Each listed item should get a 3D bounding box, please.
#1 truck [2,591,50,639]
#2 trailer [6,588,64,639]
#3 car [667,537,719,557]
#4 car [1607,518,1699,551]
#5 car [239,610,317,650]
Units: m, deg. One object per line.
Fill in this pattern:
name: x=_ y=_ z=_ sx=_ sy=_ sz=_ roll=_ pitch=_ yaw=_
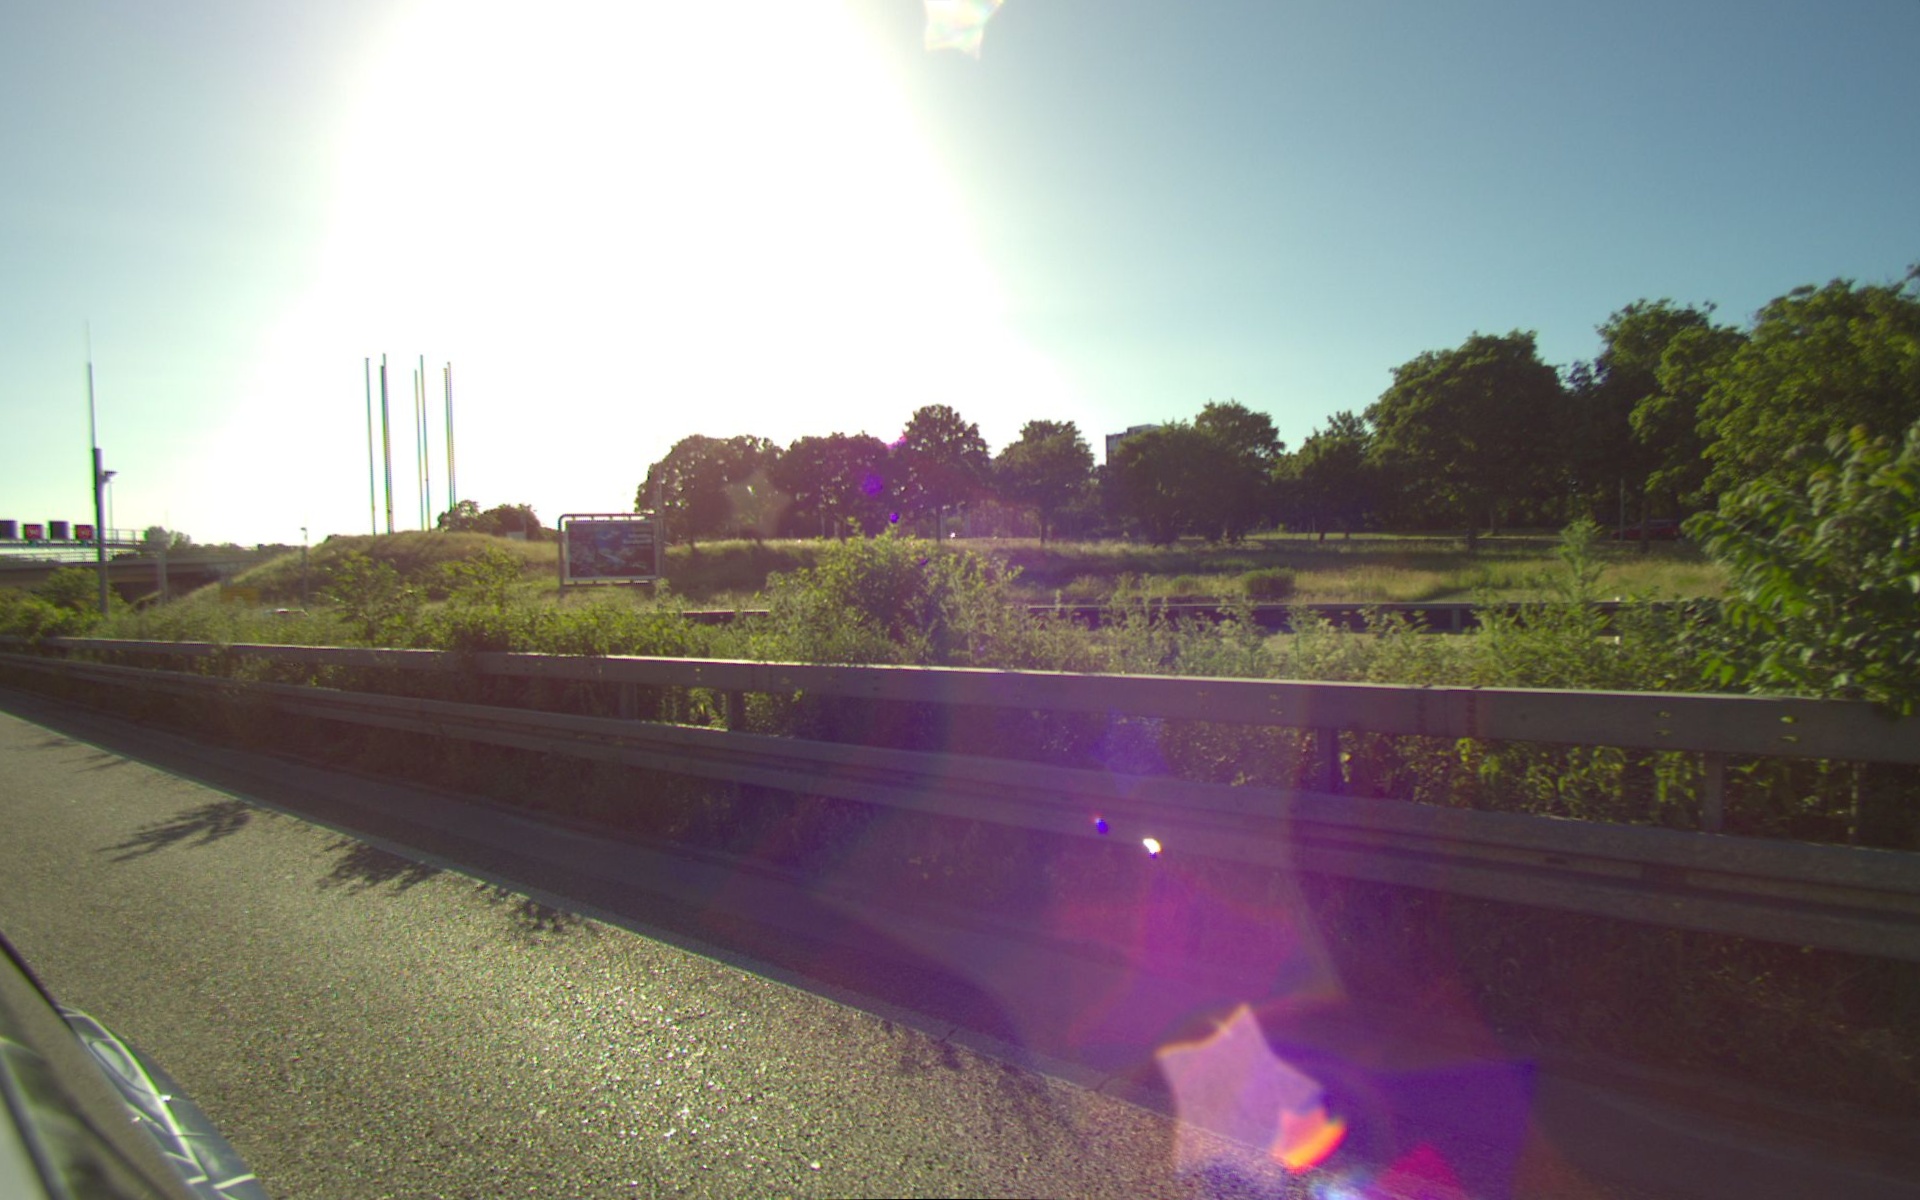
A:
truck: x=-85.225 y=1.375 z=92.287 sx=5.559 sy=4.154 sz=2.621 roll=-2 pitch=0 yaw=42
trailer: x=-80.636 y=1.218 z=88.142 sx=10.695 sy=4.154 sz=2.621 roll=-2 pitch=0 yaw=42
car: x=-32.926 y=-6.529 z=124.823 sx=6.058 sy=2.029 sz=2.529 roll=-1 pitch=-1 yaw=24
car: x=49.210 y=-4.605 z=71.968 sx=1.966 sy=2.029 sz=4.953 roll=-2 pitch=0 yaw=-30
car: x=-29.102 y=1.264 z=43.133 sx=3.998 sy=1.573 sz=1.822 roll=-2 pitch=-1 yaw=41
